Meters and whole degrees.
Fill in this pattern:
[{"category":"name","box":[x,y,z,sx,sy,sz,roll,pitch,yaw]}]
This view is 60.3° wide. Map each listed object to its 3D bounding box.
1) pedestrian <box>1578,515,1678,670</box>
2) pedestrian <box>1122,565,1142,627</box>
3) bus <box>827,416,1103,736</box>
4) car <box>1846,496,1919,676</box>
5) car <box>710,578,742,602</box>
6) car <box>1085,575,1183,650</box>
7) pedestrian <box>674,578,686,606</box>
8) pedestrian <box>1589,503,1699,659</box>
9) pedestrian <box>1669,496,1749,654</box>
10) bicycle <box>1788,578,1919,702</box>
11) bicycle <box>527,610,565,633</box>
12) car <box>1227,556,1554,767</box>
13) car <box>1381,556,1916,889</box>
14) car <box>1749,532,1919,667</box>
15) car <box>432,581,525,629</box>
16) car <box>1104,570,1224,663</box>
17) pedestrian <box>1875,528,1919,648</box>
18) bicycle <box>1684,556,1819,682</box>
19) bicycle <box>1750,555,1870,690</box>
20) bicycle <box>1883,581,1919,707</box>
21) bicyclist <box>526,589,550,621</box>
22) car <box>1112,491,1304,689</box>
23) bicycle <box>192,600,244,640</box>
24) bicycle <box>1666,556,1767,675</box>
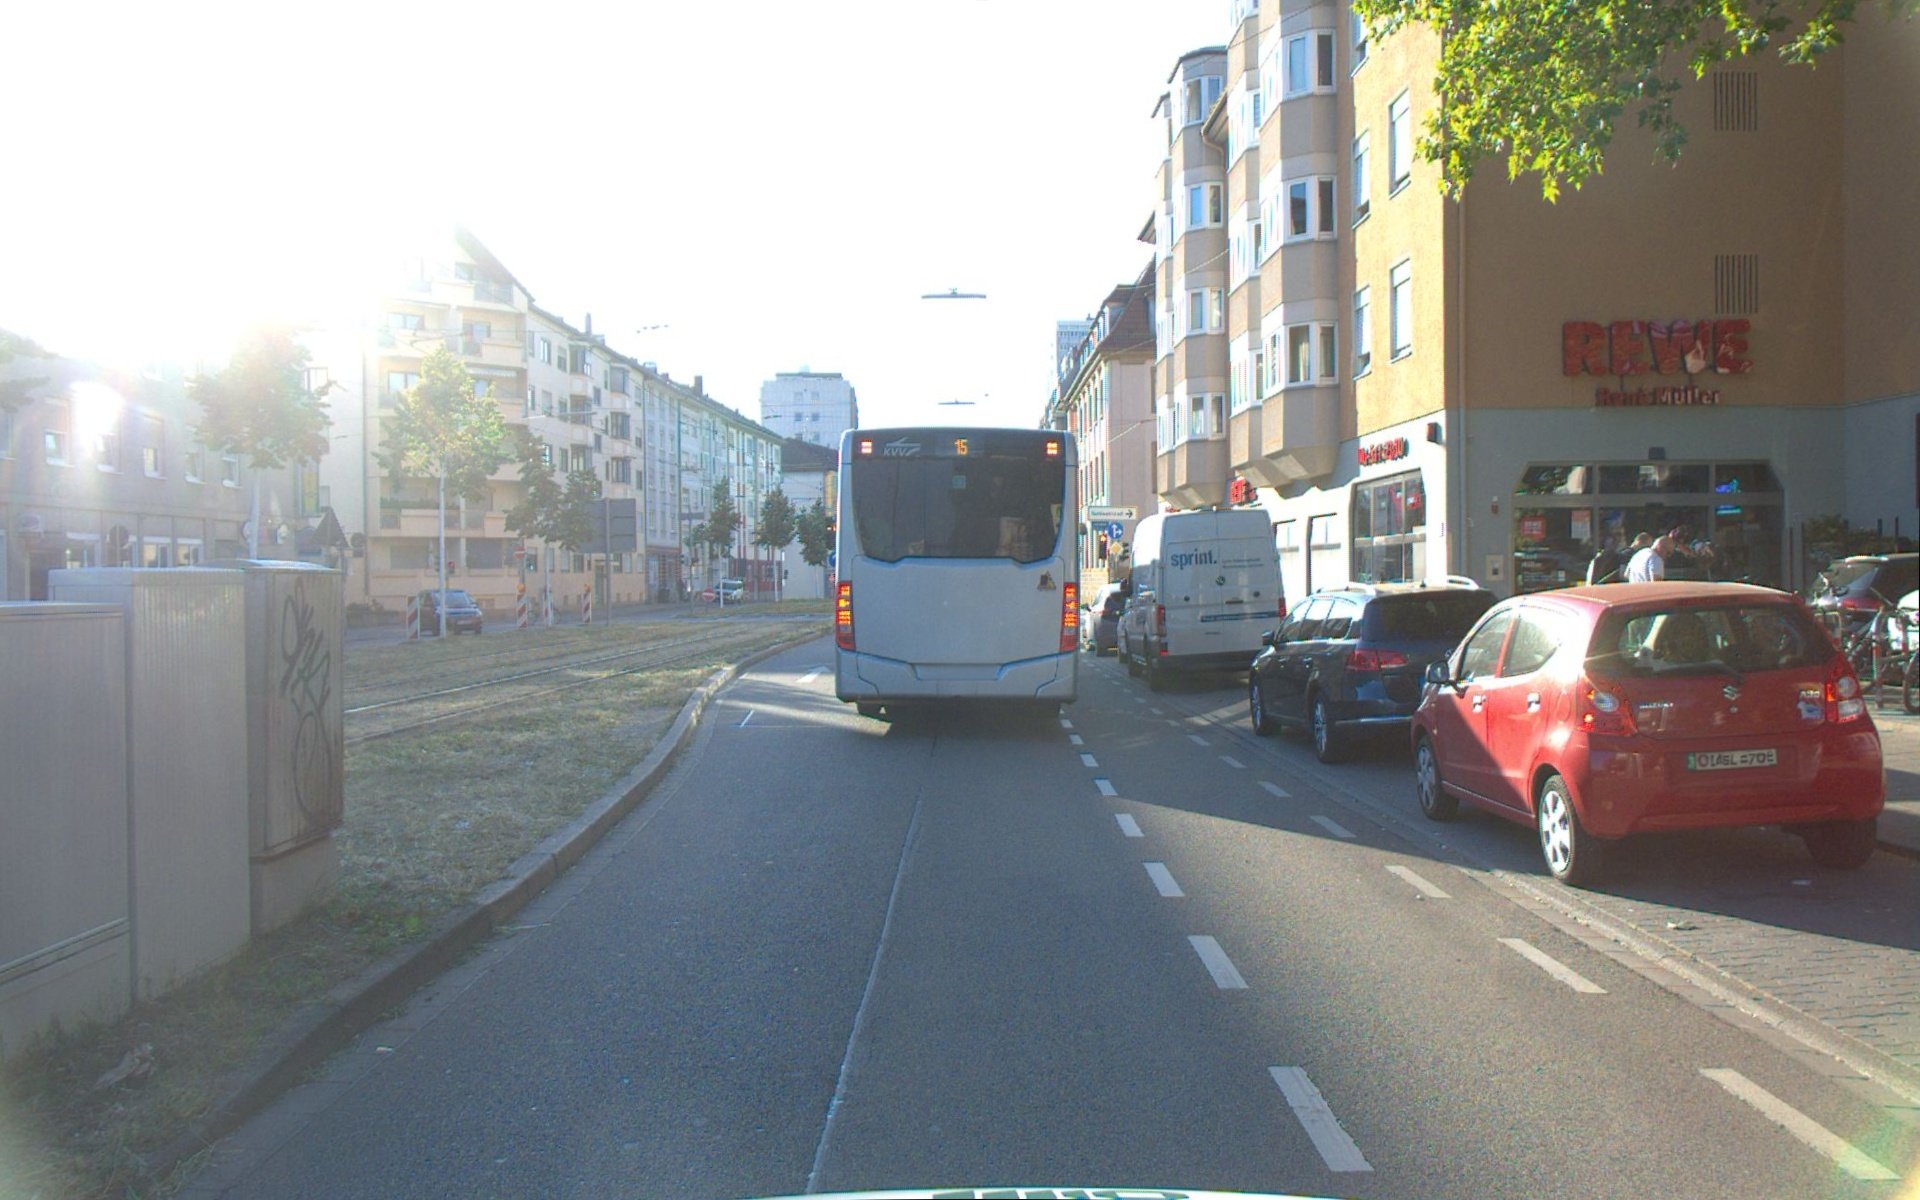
[{"category":"pedestrian","box":[8.037,-0.101,19.923,0.790,1.782,0.768,-4,1,0]},{"category":"pedestrian","box":[5.091,-0.128,48.906,0.535,1.815,0.449,-1,0,1]},{"category":"bus","box":[0.081,-0.286,20.639,2.682,3.109,8.854,1,1,0]},{"category":"car","box":[11.495,-0.060,16.219,4.524,1.738,2.000,2,1,-1]},{"category":"car","box":[-18.566,-0.803,131.266,1.774,1.829,4.246,-1,1,1]},{"category":"car","box":[3.867,0.235,37.357,1.801,1.563,4.230,-1,1,0]},{"category":"pedestrian","box":[-20.426,-0.580,120.677,0.771,2.049,0.890,-1,0,-3]},{"category":"pedestrian","box":[7.662,-0.217,18.560,0.647,1.664,0.989,-4,1,-7]},{"category":"pedestrian","box":[8.893,-0.304,19.658,0.517,1.812,0.650,-4,1,-7]},{"category":"bicycle","box":[8.153,0.336,14.885,1.567,1.031,0.642,-2,1,-38]},{"category":"bicycle","box":[-19.304,1.014,77.099,0.518,1.001,1.879,-1,1,30]},{"category":"car","box":[3.771,0.464,15.367,1.662,1.557,4.651,-4,1,-1]},{"category":"car","box":[3.772,0.569,9.752,1.538,1.520,3.625,-3,1,-1]},{"category":"car","box":[11.563,0.005,19.084,3.932,1.457,1.999,-1,-2,-1]},{"category":"car","box":[-17.234,0.148,59.456,1.774,1.587,4.935,-2,1,1]},{"category":"car","box":[3.796,0.268,31.337,1.801,1.615,3.786,-1,1,0]},{"category":"pedestrian","box":[12.800,-0.166,22.423,0.630,1.595,0.417,-1,0,-30]},{"category":"bicycle","box":[8.264,0.175,17.244,1.567,1.248,0.642,-2,1,-38]},{"category":"bicycle","box":[8.316,0.198,16.158,0.636,1.248,1.573,-1,1,43]},{"category":"bicycle","box":[8.607,0.349,14.166,1.663,1.031,0.642,-2,1,-38]},{"category":"bicyclist","box":[-19.561,0.244,76.692,0.518,1.472,0.963,-1,0,31]},{"category":"car","box":[3.706,-0.171,25.821,1.976,2.595,5.785,-4,1,0]},{"category":"bicycle","box":[-22.140,0.578,49.398,0.731,1.134,1.778,-1,1,0]},{"category":"bicycle","box":[8.258,0.146,18.034,1.507,1.248,0.398,-1,1,-41]}]
